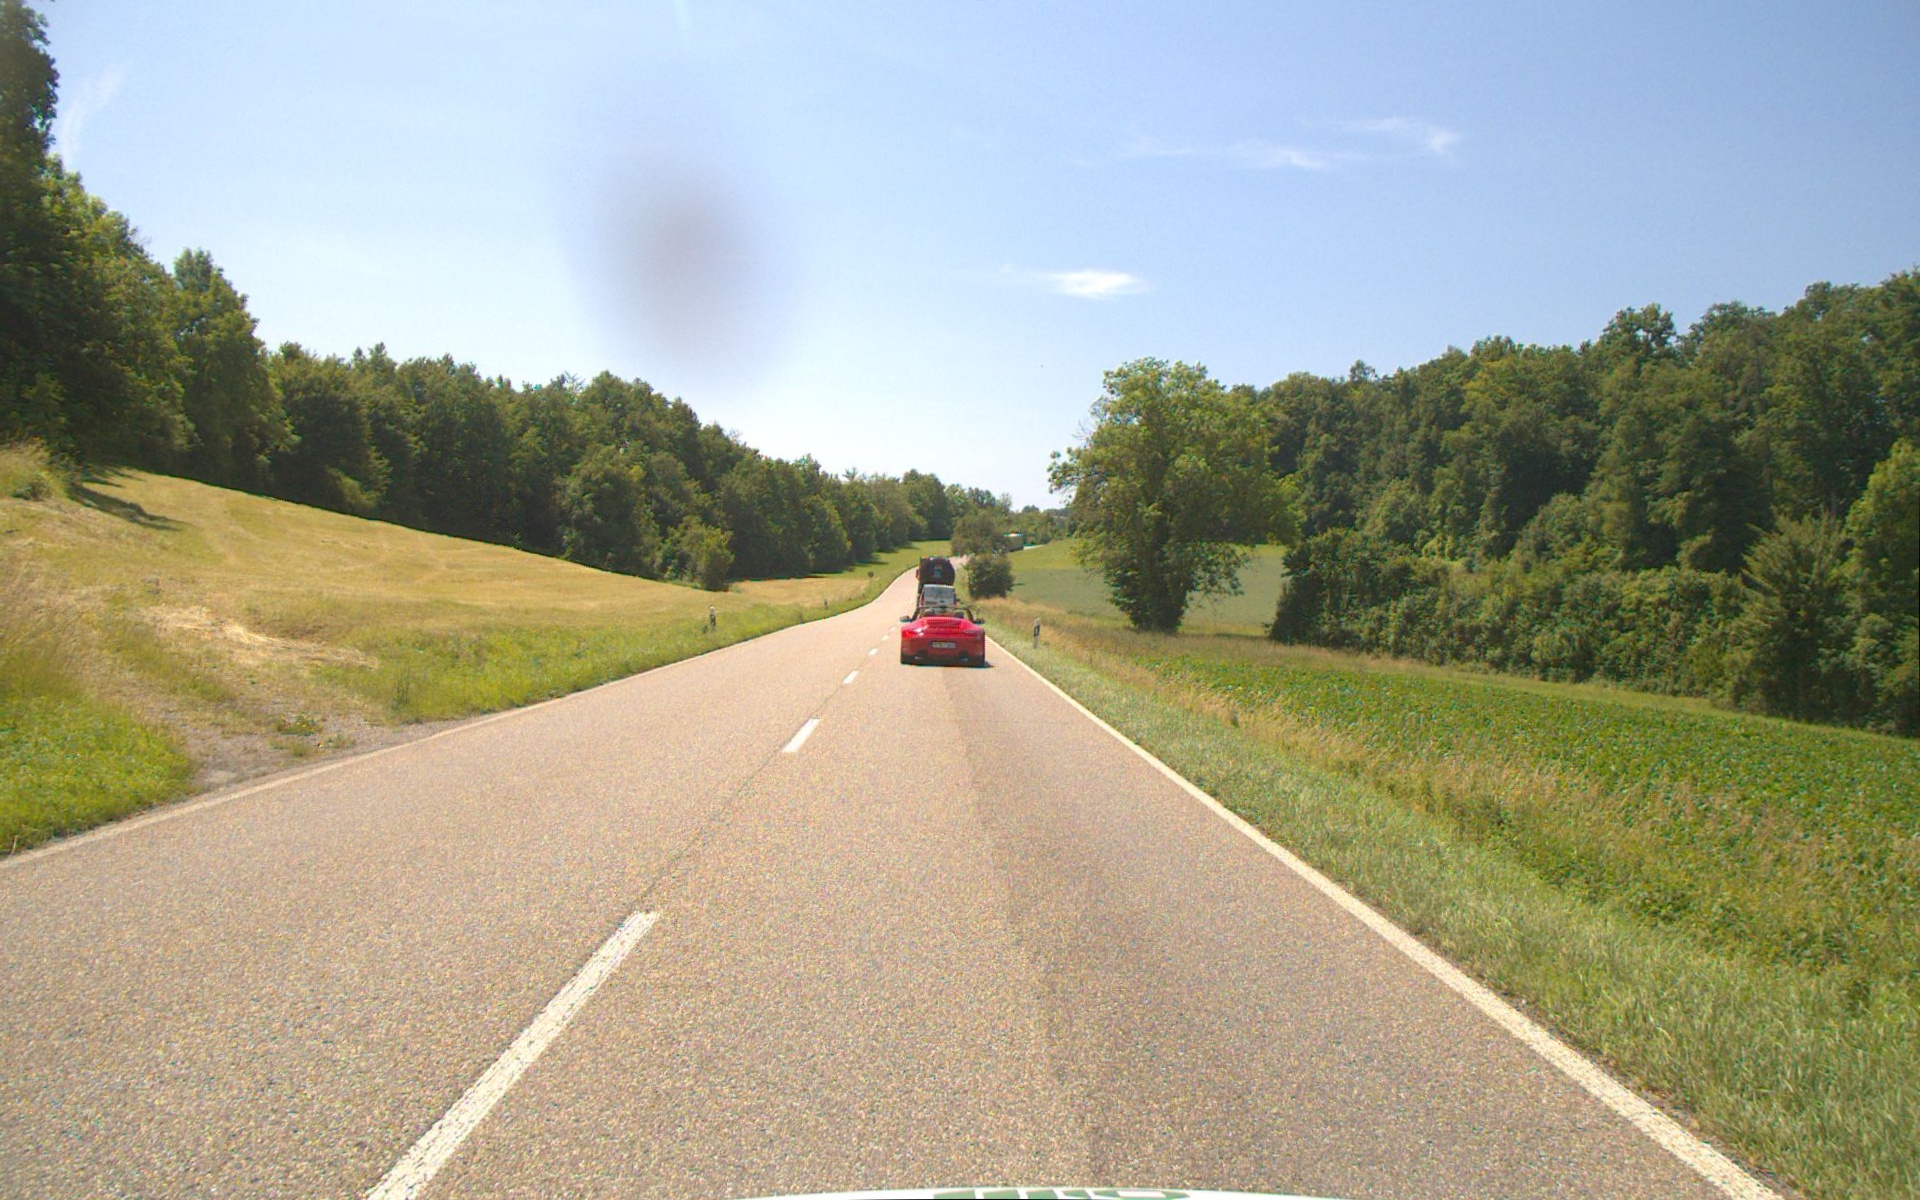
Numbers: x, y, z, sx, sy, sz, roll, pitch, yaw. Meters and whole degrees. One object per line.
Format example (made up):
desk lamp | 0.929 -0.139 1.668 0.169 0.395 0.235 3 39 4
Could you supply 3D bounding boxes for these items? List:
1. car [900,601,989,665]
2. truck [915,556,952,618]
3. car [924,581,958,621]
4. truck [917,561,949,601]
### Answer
car | -0.377 0.698 36.709 1.844 1.277 4.008 1 0 -2
truck | -1.985 -1.060 119.549 2.355 4.119 12.548 1 2 -2
car | -0.940 0.032 83.433 1.644 1.934 4.009 0 0 -1
truck | -3.395 -2.428 205.164 3.650 4.741 12.027 1 2 -2
